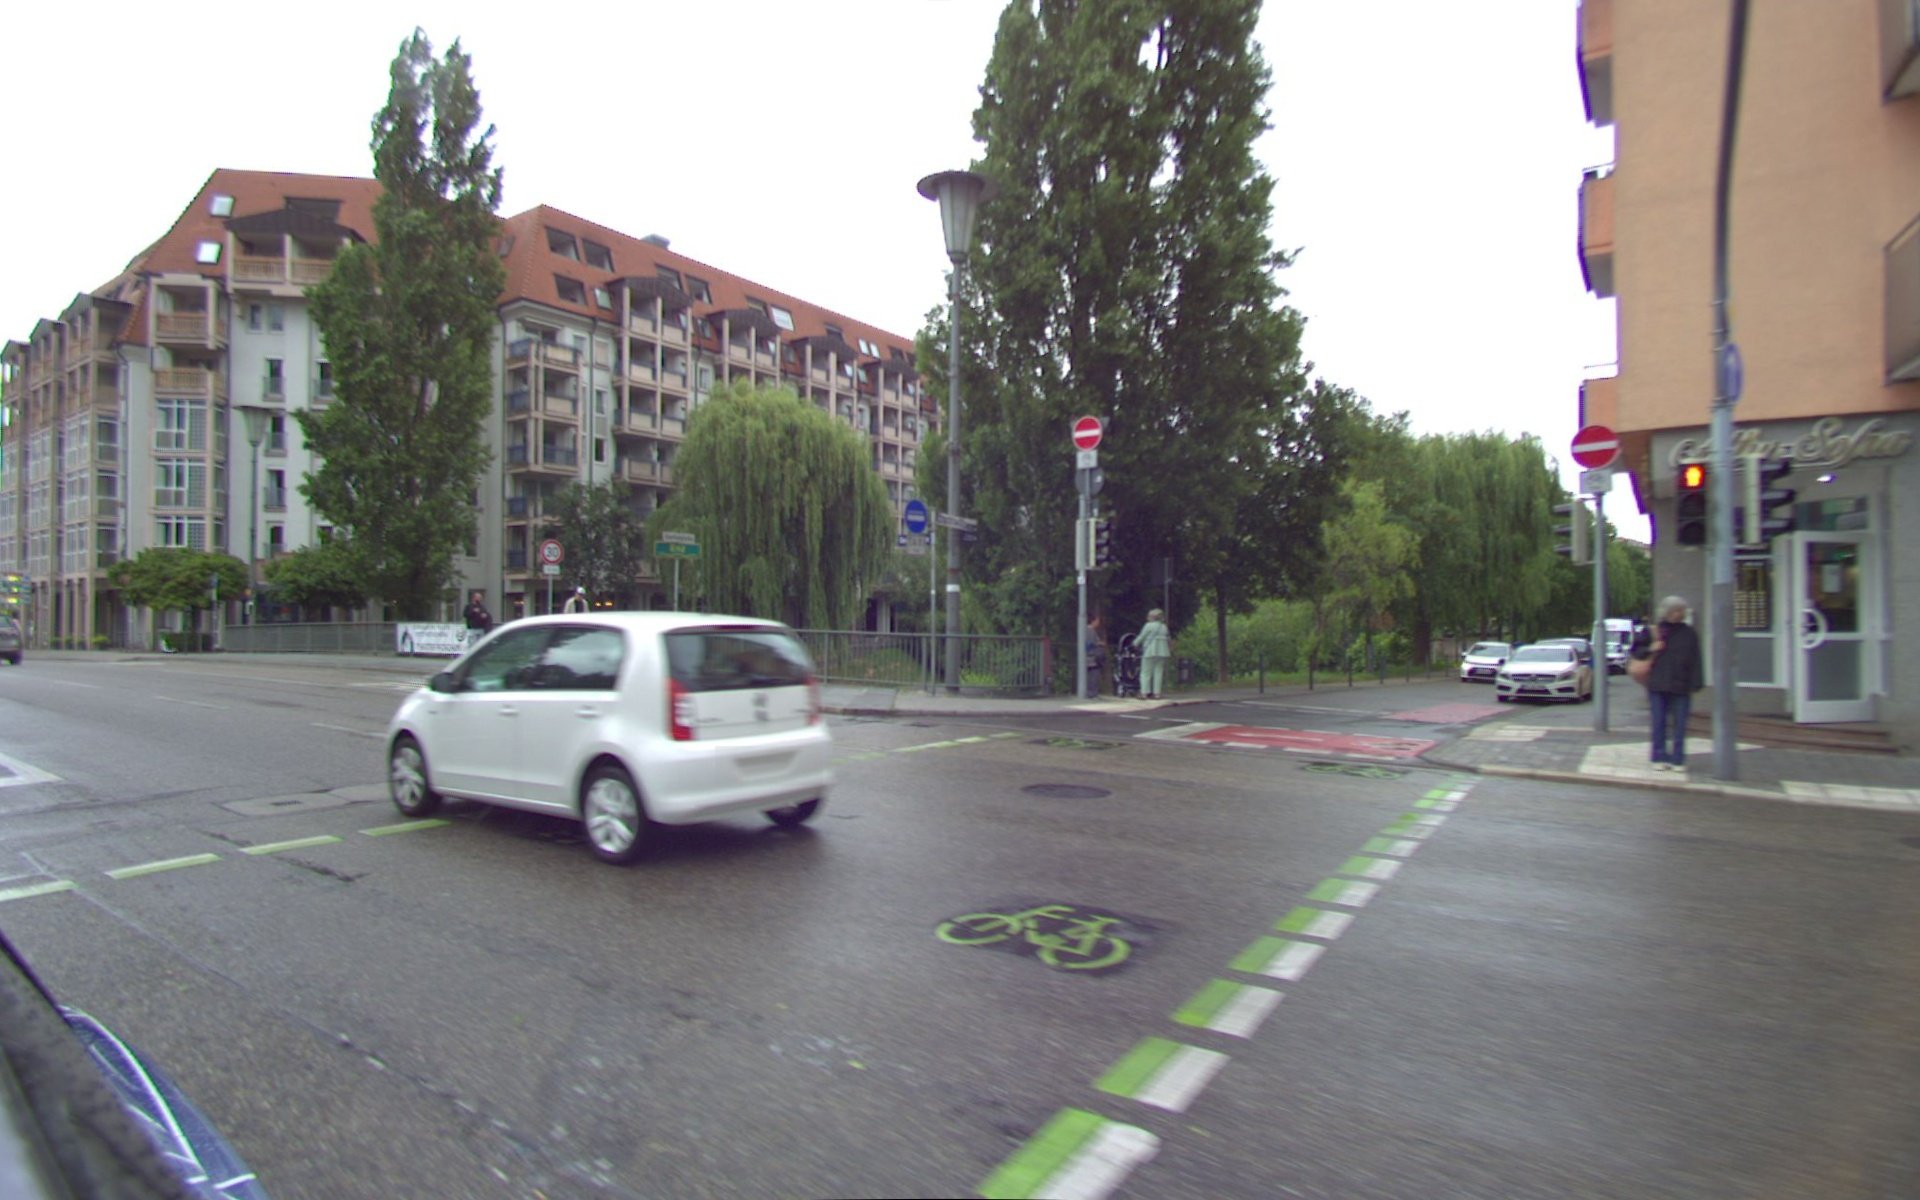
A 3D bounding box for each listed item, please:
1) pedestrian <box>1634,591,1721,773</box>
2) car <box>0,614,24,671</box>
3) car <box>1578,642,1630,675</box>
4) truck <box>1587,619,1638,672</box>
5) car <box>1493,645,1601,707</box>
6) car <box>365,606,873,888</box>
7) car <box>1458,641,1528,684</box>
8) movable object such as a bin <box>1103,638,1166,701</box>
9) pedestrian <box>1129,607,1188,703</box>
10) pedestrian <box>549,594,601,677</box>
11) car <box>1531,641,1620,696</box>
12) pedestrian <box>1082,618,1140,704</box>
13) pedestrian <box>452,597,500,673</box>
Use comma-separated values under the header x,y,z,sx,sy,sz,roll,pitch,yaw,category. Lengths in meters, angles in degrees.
x,y,z,sx,sy,sz,roll,pitch,yaw,category
7.165,0.790,10.107,0.648,1.740,0.525,-1,-2,40,pedestrian
-29.121,1.223,29.662,3.912,1.614,1.721,-1,-3,37,car
32.134,2.885,50.464,1.896,1.398,3.950,-1,0,37,car
35.266,2.391,54.644,2.102,2.648,4.603,-1,0,35,truck
14.732,1.826,25.312,1.896,1.398,3.950,-1,-3,37,car
-2.458,0.797,7.000,3.537,1.461,1.639,-1,-2,37,car
19.848,2.281,37.613,1.720,1.398,3.950,-1,-1,37,car
3.246,1.285,18.888,0.786,1.120,0.887,2,-1,-19,movable object such as a bin
3.562,0.980,18.176,0.786,1.676,0.623,2,-1,-19,pedestrian
-8.549,0.769,22.472,0.811,1.807,0.789,-1,0,39,pedestrian
18.323,1.970,30.057,1.896,1.398,3.950,-1,-1,37,car
2.660,1.071,17.879,0.643,1.456,0.802,2,-1,-21,pedestrian
-11.799,0.834,24.674,0.957,1.807,0.691,-1,0,37,pedestrian
